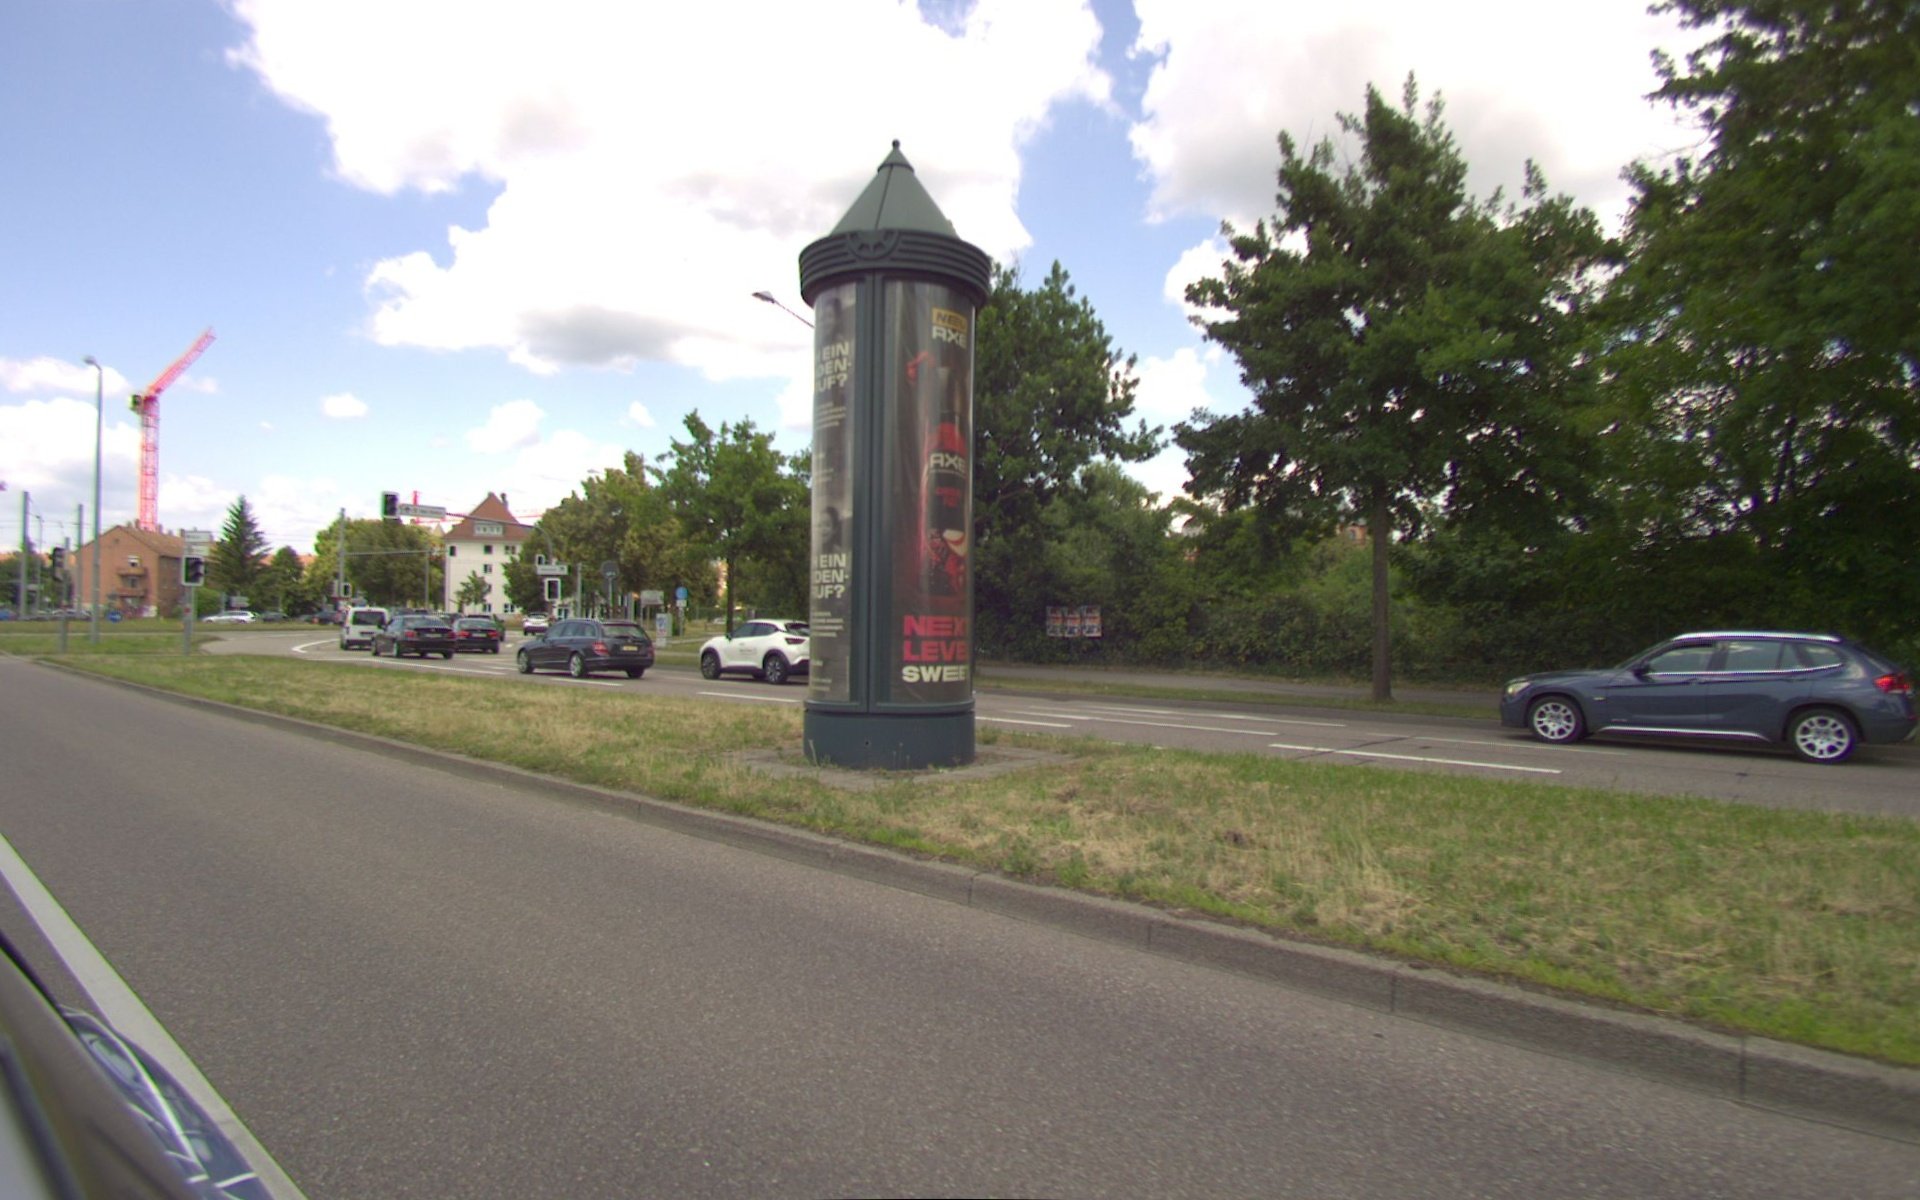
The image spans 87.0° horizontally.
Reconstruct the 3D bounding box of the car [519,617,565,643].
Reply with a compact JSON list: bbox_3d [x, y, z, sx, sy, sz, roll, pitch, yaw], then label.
[{"bbox_3d":[-28.064,2.000,68.101,1.967,1.699,4.798,1,-1,-11],"label":"car"}]

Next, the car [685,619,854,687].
[{"bbox_3d":[-4.849,1.289,25.460,4.366,1.552,1.890,-1,-2,41],"label":"car"}]

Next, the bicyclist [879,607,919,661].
[{"bbox_3d":[-1.862,1.024,30.775,0.883,1.576,0.821,0,1,41],"label":"bicyclist"}]

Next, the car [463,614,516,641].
[{"bbox_3d":[-25.110,1.478,54.182,1.594,1.358,4.180,2,-2,-11],"label":"car"}]

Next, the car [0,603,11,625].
[{"bbox_3d":[-78.168,1.114,80.000,4.333,1.812,1.761,0,-1,-32],"label":"car"}]

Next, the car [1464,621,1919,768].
[{"bbox_3d":[9.487,1.106,13.130,5.028,1.589,1.745,-1,-4,41],"label":"car"}]

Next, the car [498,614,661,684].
[{"bbox_3d":[-9.750,1.185,25.738,5.010,1.603,1.704,-1,-2,41],"label":"car"}]

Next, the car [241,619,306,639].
[{"bbox_3d":[-64.227,2.668,94.695,4.590,1.834,2.128,0,-1,-6],"label":"car"}]

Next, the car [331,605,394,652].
[{"bbox_3d":[-24.707,1.168,41.746,1.813,1.813,4.800,3,-3,-35],"label":"car"}]

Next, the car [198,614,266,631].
[{"bbox_3d":[-65.071,1.992,90.500,4.439,1.533,2.126,0,-1,-4],"label":"car"}]

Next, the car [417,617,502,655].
[{"bbox_3d":[-20.696,1.475,41.784,1.816,1.454,4.422,4,-3,-44],"label":"car"}]

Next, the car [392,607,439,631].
[{"bbox_3d":[-47.699,1.642,88.617,4.782,2.029,1.974,0,-1,39],"label":"car"}]

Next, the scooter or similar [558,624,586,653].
[{"bbox_3d":[-15.896,1.564,41.485,0.534,1.175,1.441,1,-1,-45],"label":"scooter or similar"}]

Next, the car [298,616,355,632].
[{"bbox_3d":[-56.182,2.151,89.814,3.921,1.351,1.803,1,-2,-2],"label":"car"}]

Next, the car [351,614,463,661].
[{"bbox_3d":[-18.962,1.262,34.628,4.751,1.491,1.818,0,-3,41],"label":"car"}]

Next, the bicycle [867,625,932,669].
[{"bbox_3d":[-1.852,1.403,30.784,2.015,1.228,0.753,0,1,41],"label":"bicycle"}]

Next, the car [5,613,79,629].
[{"bbox_3d":[-77.463,1.766,85.477,4.418,1.333,1.958,1,-1,-38],"label":"car"}]

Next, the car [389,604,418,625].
[{"bbox_3d":[-43.141,1.126,78.474,1.881,1.604,4.606,1,-1,-29],"label":"car"}]
